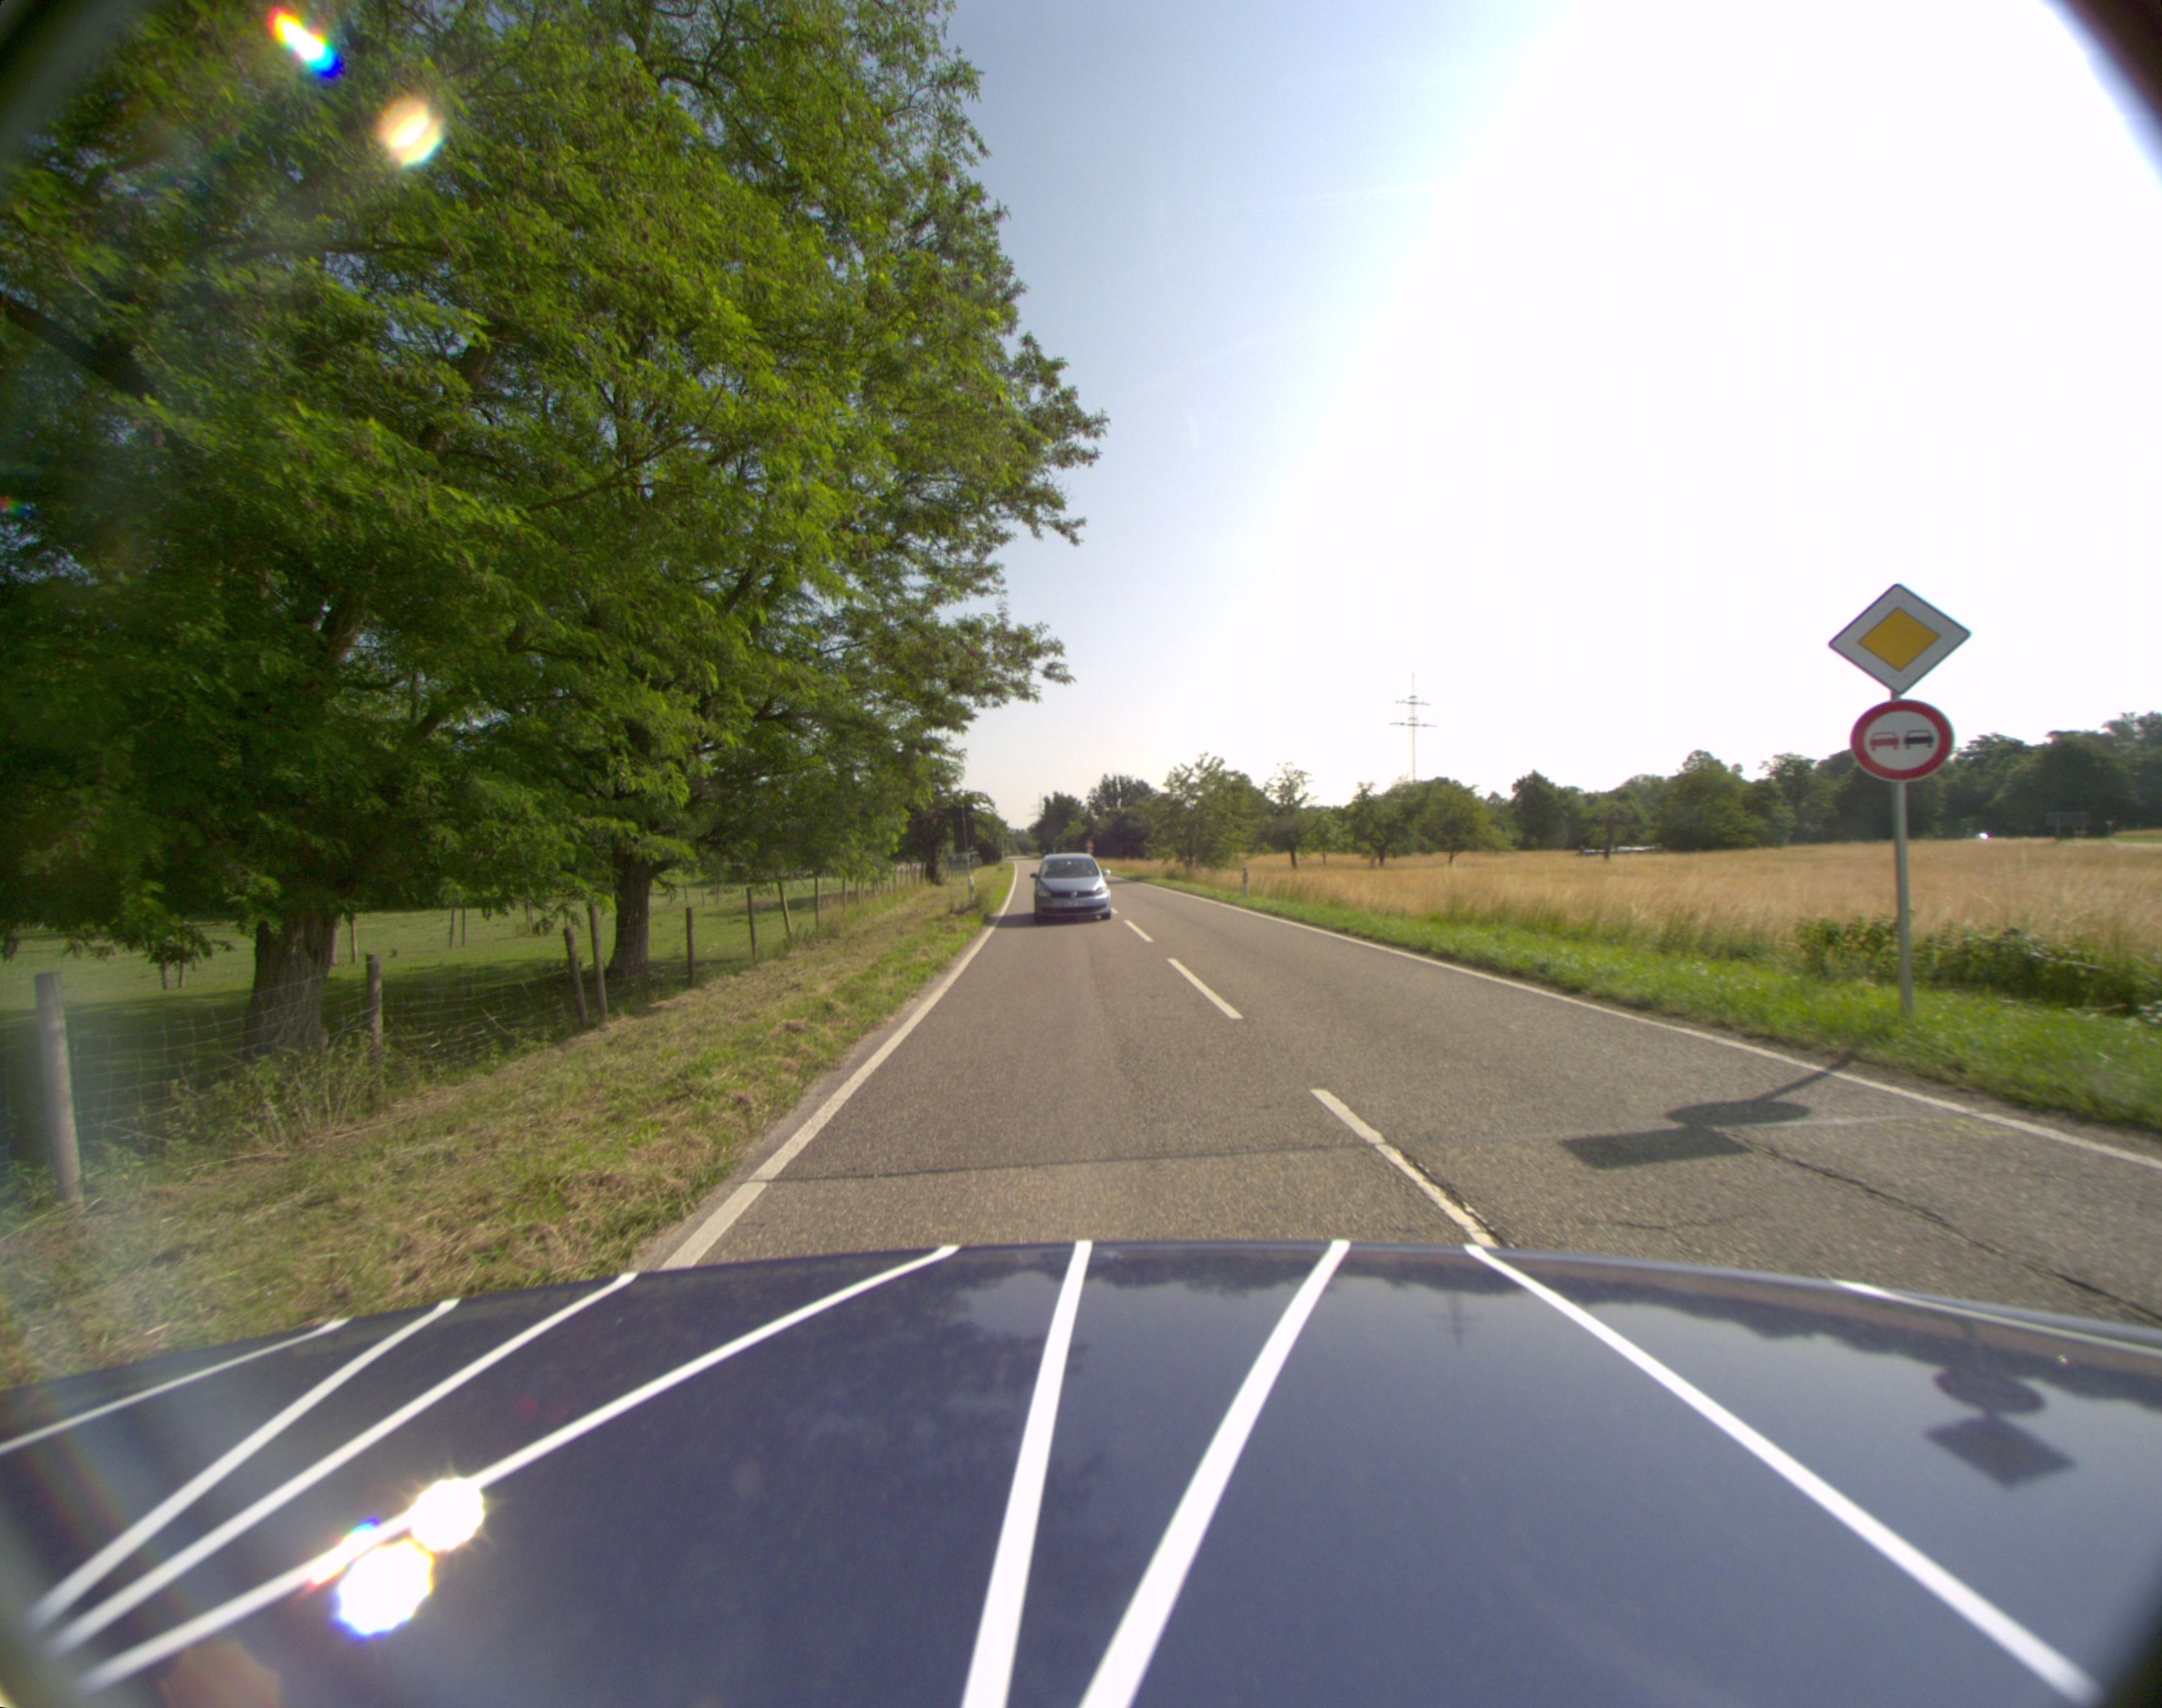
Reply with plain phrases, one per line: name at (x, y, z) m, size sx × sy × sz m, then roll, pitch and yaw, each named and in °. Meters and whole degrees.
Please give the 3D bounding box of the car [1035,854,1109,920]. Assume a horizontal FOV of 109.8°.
car at (-0.233, 0.789, 20.211) m, size 1.718 × 1.495 × 4.093 m, roll -2°, pitch 0°, yaw -1°
